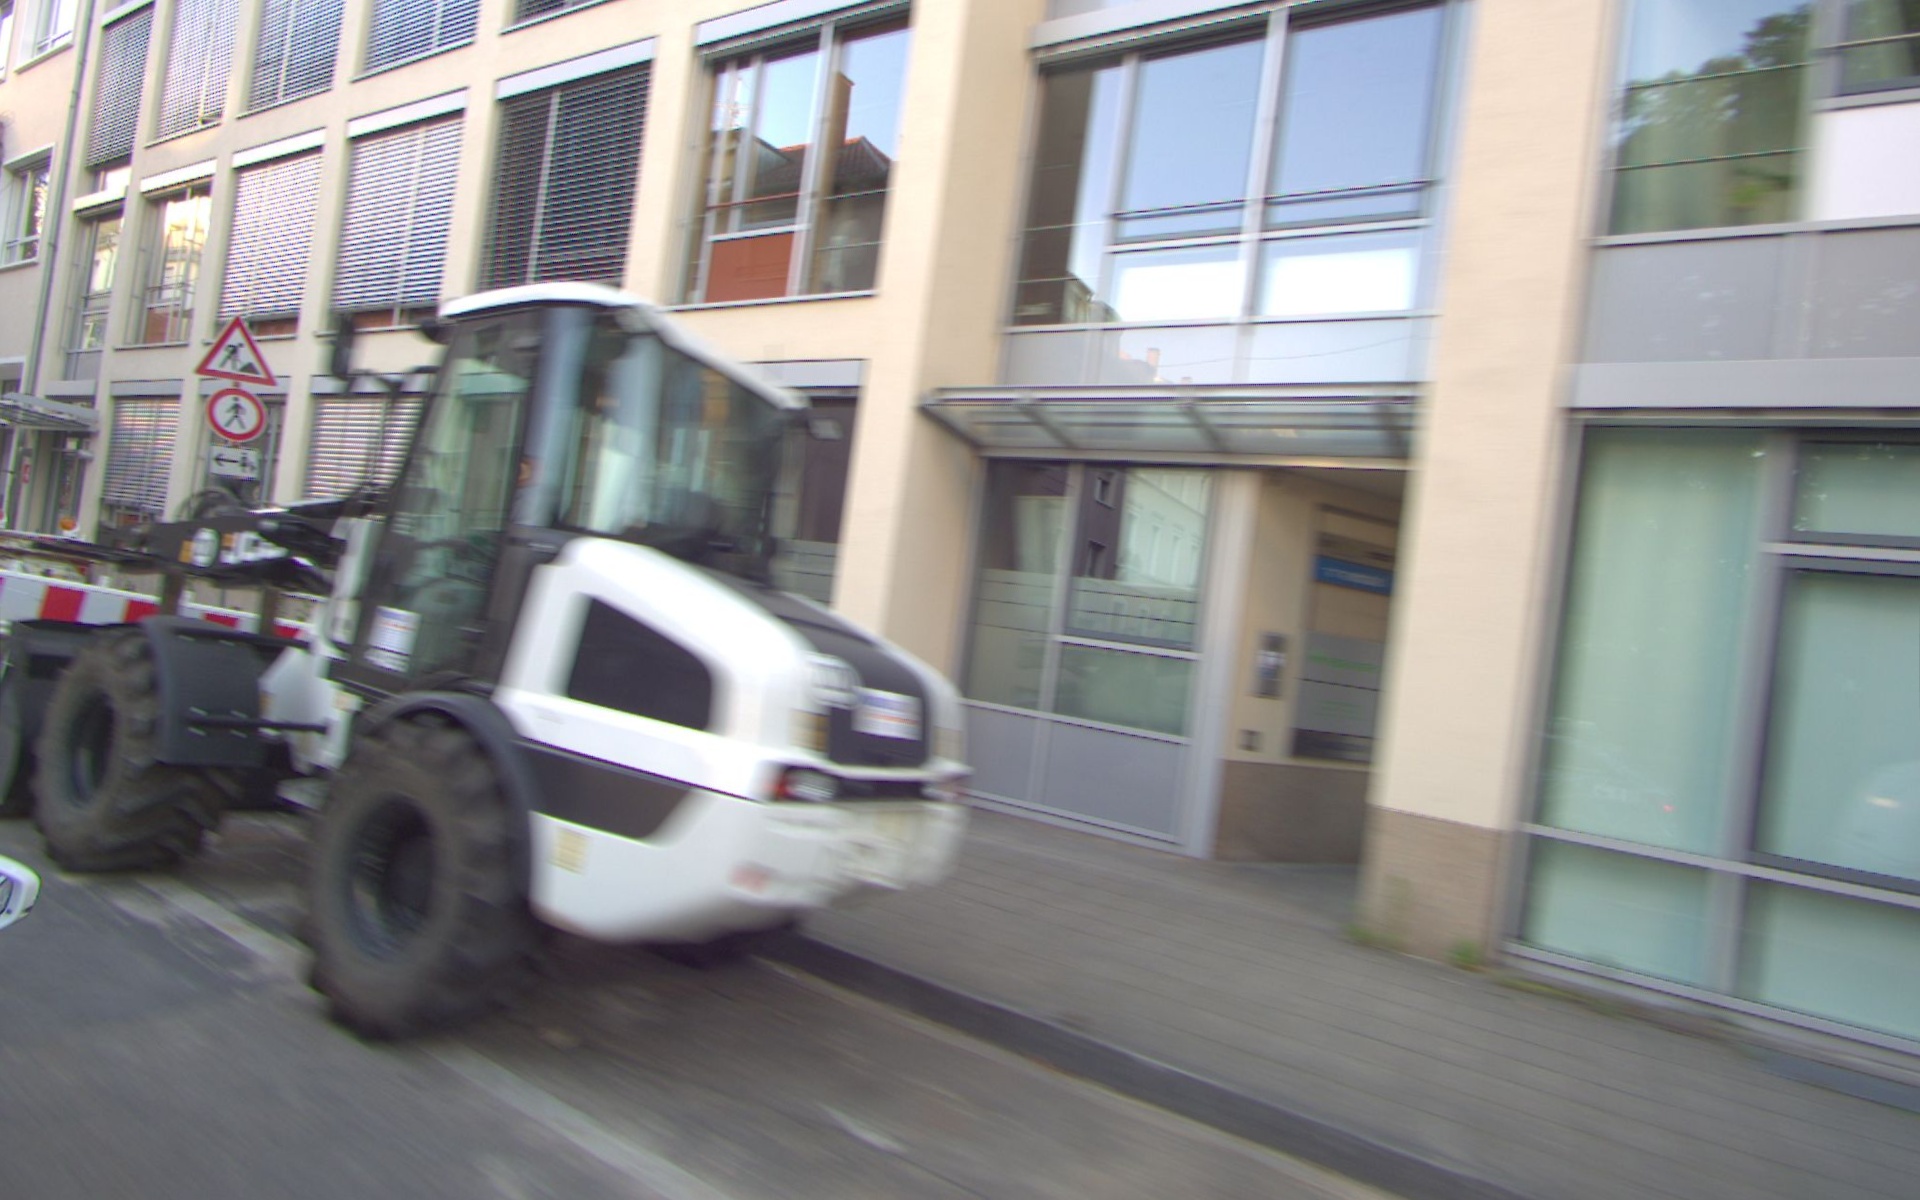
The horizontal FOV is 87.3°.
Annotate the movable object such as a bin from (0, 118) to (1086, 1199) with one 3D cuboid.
[{"bbox_3d":[-2.493,-0.007,4.739,5.450,2.626,2.171,7,-2,31],"label":"movable object such as a bin"}]
